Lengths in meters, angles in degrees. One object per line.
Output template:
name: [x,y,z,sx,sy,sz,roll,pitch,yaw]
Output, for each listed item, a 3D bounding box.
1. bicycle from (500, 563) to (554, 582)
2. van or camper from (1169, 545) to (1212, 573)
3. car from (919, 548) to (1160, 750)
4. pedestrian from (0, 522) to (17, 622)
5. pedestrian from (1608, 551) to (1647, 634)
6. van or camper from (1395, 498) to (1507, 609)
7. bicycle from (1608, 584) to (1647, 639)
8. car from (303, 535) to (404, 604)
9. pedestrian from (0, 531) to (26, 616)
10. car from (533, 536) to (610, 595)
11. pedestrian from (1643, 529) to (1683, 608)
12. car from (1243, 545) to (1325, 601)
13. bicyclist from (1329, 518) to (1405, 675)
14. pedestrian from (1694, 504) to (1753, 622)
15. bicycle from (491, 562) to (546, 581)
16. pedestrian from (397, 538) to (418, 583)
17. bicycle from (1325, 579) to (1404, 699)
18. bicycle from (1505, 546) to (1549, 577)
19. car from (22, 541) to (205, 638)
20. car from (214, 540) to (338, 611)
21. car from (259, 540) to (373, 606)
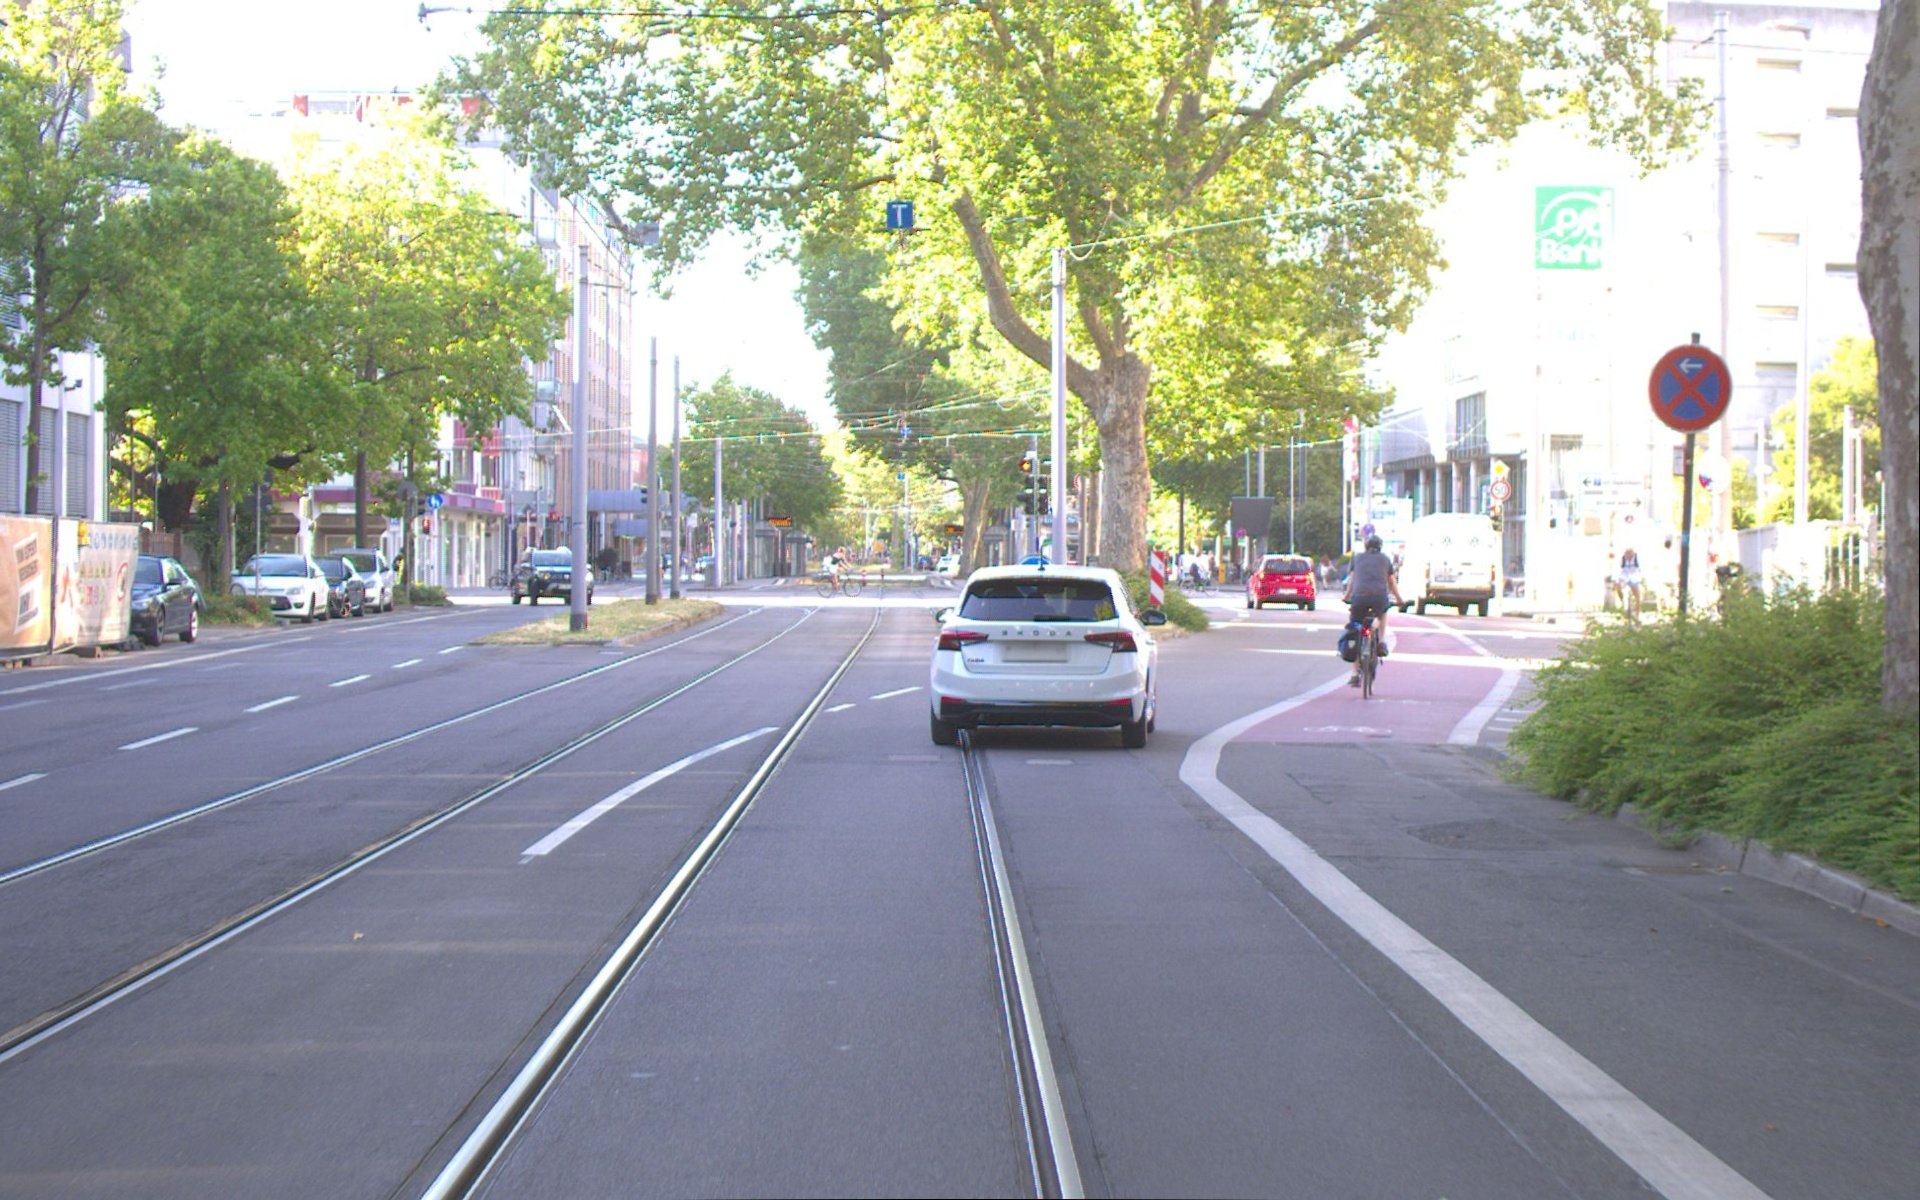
bicycle: [-17.624,-1.113,139.965,2.169,0.784,0.492,0,1,-4]
van or camper: [14.671,-2.606,218.887,2.145,1.744,4.432,-1,1,-4]
car: [0.687,0.345,28.197,1.802,1.496,3.981,1,1,2]
pedestrian: [-15.782,-0.469,55.992,0.635,1.615,0.732,1,1,-3]
pedestrian: [13.213,-0.149,68.085,0.670,1.613,1.102,-2,1,9]
van or camper: [12.959,-1.241,91.101,2.269,2.724,6.346,3,1,3]
bicycle: [13.218,0.226,68.057,0.675,1.028,1.900,-2,1,9]
car: [-15.192,-0.782,86.291,1.993,1.683,4.178,0,1,-3]
pedestrian: [-17.769,-0.501,64.063,0.594,1.565,0.639,0,1,-3]
car: [-11.314,-1.034,100.372,1.993,1.683,4.311,0,1,-3]
pedestrian: [15.761,-0.710,77.056,0.786,1.742,0.772,0,1,4]
car: [8.768,-0.755,93.397,1.839,1.484,3.717,0,1,-1]
bicyclist: [4.435,-0.045,37.457,0.743,1.663,0.744,2,1,8]
pedestrian: [10.928,-0.531,49.197,0.696,1.678,0.929,0,1,20]
bicycle: [-17.858,-1.149,139.064,2.169,0.784,0.641,0,1,-4]
pedestrian: [-20.535,-1.477,127.830,0.708,1.657,1.034,-1,1,-5]
bicycle: [4.426,0.407,37.546,0.744,1.220,2.155,2,1,9]
bicycle: [26.487,-1.819,160.632,1.934,1.438,0.575,0,1,-2]
car: [-13.790,-0.203,56.288,1.993,1.508,4.726,0,1,-2]
car: [-14.583,-0.538,73.492,1.993,1.466,4.406,0,1,-3]
car: [-14.846,-0.653,79.409,1.993,1.471,4.650,0,1,-3]
